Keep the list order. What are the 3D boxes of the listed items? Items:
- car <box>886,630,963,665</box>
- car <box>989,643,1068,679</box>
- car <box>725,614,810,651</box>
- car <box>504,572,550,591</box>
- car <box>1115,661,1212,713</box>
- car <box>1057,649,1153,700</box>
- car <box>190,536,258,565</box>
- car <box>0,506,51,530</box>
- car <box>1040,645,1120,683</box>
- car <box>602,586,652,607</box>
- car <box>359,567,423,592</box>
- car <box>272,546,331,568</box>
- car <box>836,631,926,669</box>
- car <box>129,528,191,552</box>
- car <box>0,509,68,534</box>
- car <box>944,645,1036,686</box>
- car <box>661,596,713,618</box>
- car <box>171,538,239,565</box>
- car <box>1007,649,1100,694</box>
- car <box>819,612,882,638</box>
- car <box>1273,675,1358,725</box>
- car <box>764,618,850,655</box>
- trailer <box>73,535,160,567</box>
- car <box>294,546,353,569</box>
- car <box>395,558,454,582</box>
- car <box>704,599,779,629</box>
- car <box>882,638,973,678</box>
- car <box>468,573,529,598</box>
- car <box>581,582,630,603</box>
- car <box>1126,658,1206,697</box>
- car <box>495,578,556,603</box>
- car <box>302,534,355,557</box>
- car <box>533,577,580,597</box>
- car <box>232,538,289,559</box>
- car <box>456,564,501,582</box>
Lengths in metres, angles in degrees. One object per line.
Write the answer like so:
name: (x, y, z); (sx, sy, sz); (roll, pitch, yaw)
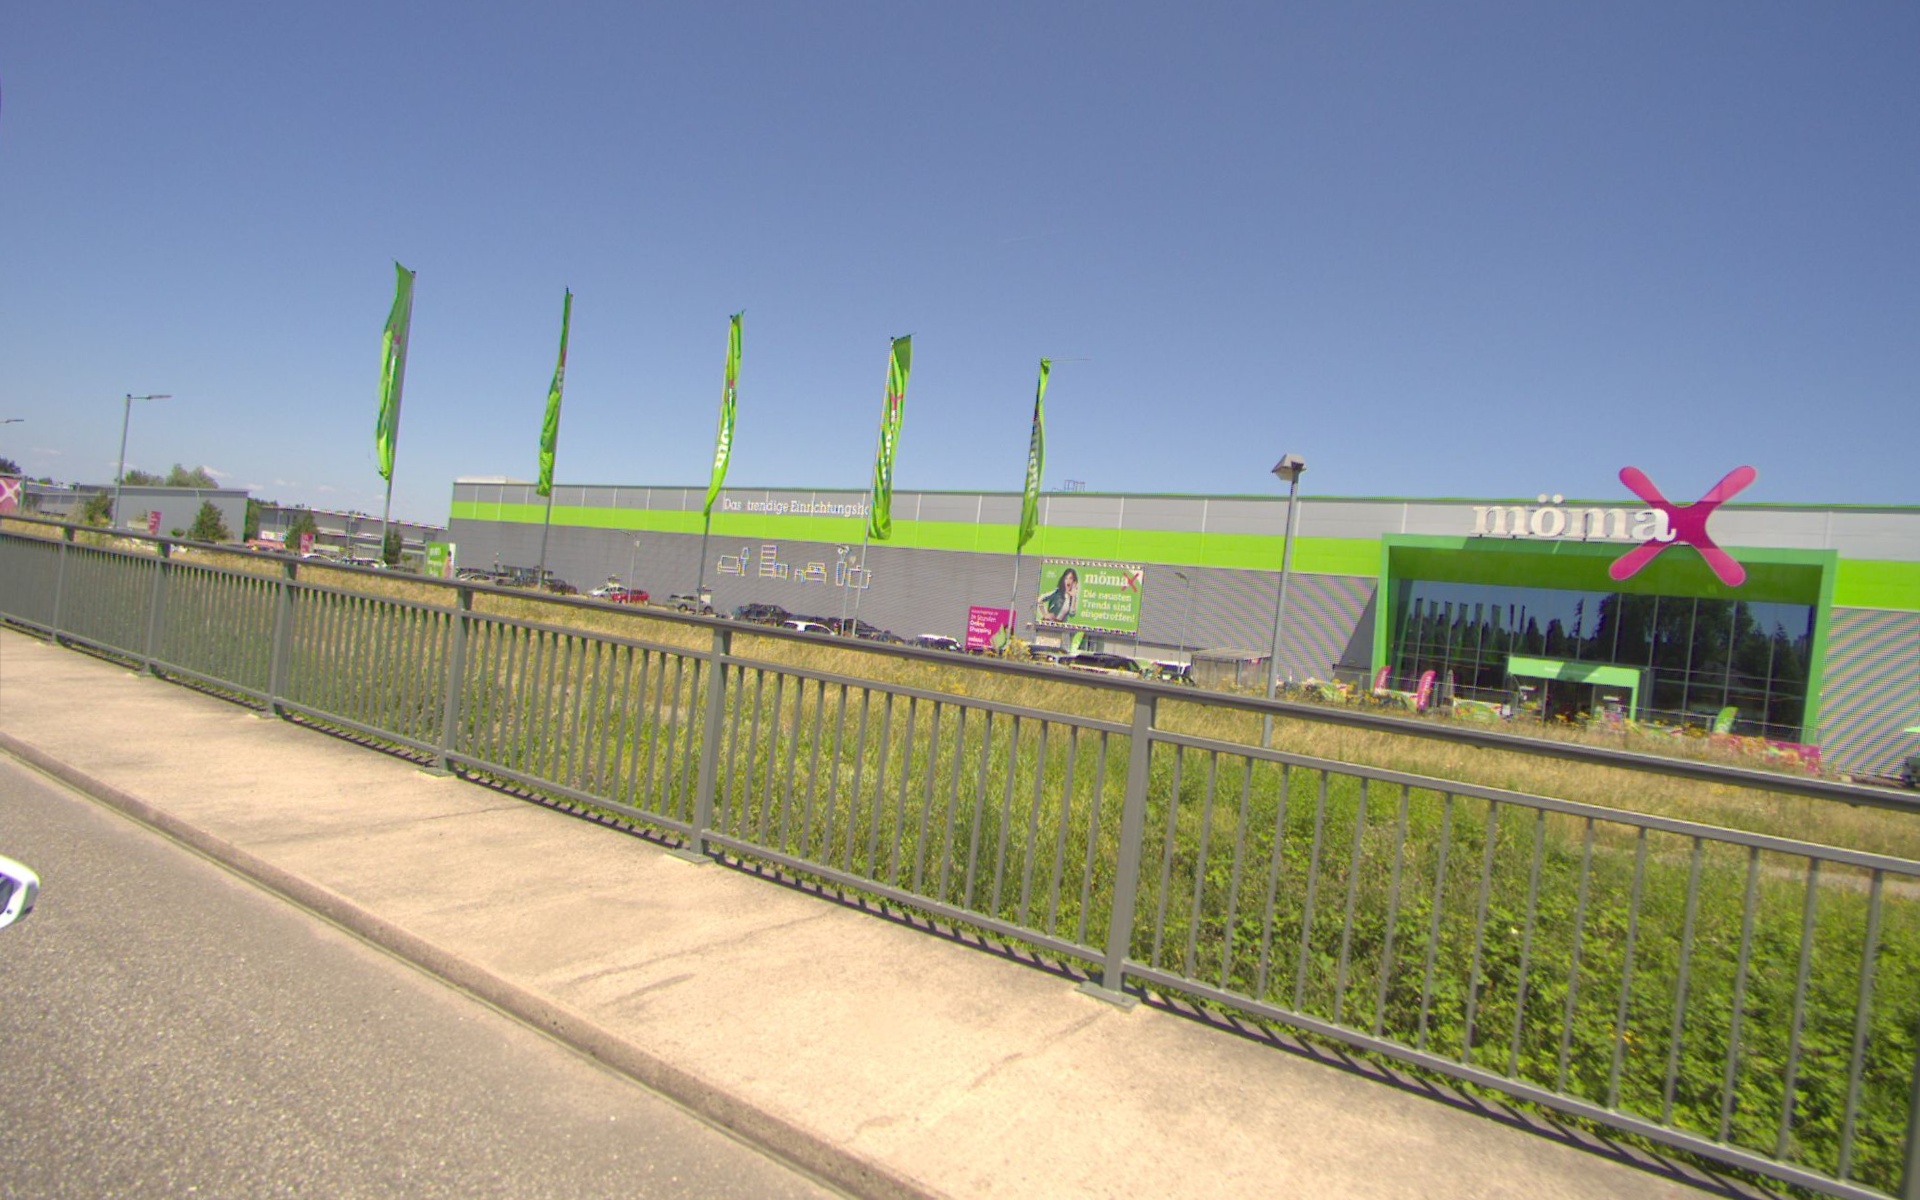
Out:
car: (-1.889, 2.571, 53.894); (1.919, 1.523, 3.984); (5, -1, 38)
car: (3.428, 3.039, 49.851); (1.919, 1.523, 3.984); (5, -1, 38)
car: (-9.881, 1.708, 51.860); (1.919, 1.549, 3.984); (5, -1, 38)
car: (-45.795, -1.925, 106.537); (1.968, 1.537, 3.990); (4, -2, 33)
car: (7.766, 3.295, 38.160); (1.887, 1.674, 3.984); (5, -1, 38)
car: (5.775, 2.962, 39.730); (1.887, 1.717, 3.984); (5, -1, 38)
car: (-55.422, -3.735, 75.791); (1.863, 1.589, 3.735); (6, -2, 38)
car: (-80.476, -7.071, 85.991); (1.914, 1.460, 3.735); (6, -2, 38)
car: (5.803, 3.093, 48.419); (1.919, 1.523, 3.984); (5, -1, 38)
car: (-31.206, -0.347, 94.322); (1.968, 1.537, 3.990); (4, -2, 33)
car: (-45.770, -1.627, 81.001); (1.968, 1.492, 3.990); (4, -2, 33)
car: (-60.292, -3.952, 92.142); (1.970, 1.537, 3.986); (4, -2, 37)
car: (-3.652, 2.359, 47.192); (1.919, 1.479, 3.984); (5, -1, 38)
car: (-68.618, -5.127, 86.281); (1.914, 1.460, 3.735); (6, -2, 38)
car: (-75.550, -6.392, 82.110); (1.914, 1.460, 3.735); (6, -2, 38)
car: (1.357, 2.841, 43.477); (1.887, 1.479, 3.984); (5, -1, 38)
car: (-23.950, 0.630, 88.315); (1.968, 1.537, 3.990); (4, -2, 33)
car: (-58.151, -3.701, 77.556); (1.914, 1.460, 3.735); (6, -2, 38)
car: (3.936, 2.986, 41.689); (1.887, 1.566, 3.984); (5, -1, 38)
car: (-8.076, 1.886, 74.466); (1.969, 1.537, 4.654); (4, -2, 35)
car: (14.037, 3.931, 39.643); (1.887, 1.674, 3.984); (5, -1, 38)
car: (-7.644, 1.842, 50.534); (1.919, 1.549, 3.984); (5, -1, 38)
trailer: (-55.106, -3.183, 65.795); (1.737, 1.414, 3.988); (6, -2, 37)
car: (-56.941, -3.820, 90.037); (1.970, 1.537, 3.986); (4, -2, 37)
car: (-46.373, -2.597, 87.125); (1.968, 1.537, 3.990); (4, -2, 33)
car: (-14.039, 0.908, 64.784); (1.971, 1.537, 4.405); (4, -2, 38)
car: (-1.411, 2.621, 45.125); (1.919, 1.479, 3.984); (5, -1, 38)
car: (-37.356, -1.149, 81.446); (1.968, 1.537, 3.990); (4, -2, 33)
car: (-33.781, -0.713, 96.013); (1.968, 1.492, 3.990); (4, -2, 33)
car: (9.424, 3.567, 45.872); (1.919, 1.523, 3.984); (5, -1, 38)
car: (-34.844, -0.759, 80.766); (1.968, 1.537, 3.990); (4, -2, 33)
car: (-64.202, -5.518, 102.292); (1.970, 1.870, 3.986); (4, -2, 37)
car: (-41.193, -1.327, 102.677); (1.968, 1.537, 3.990); (4, -2, 33)
car: (-67.090, -4.921, 96.550); (1.970, 1.537, 3.986); (4, -2, 37)
car: (-53.968, -3.071, 112.750); (1.968, 1.537, 3.991); (4, -2, 33)
